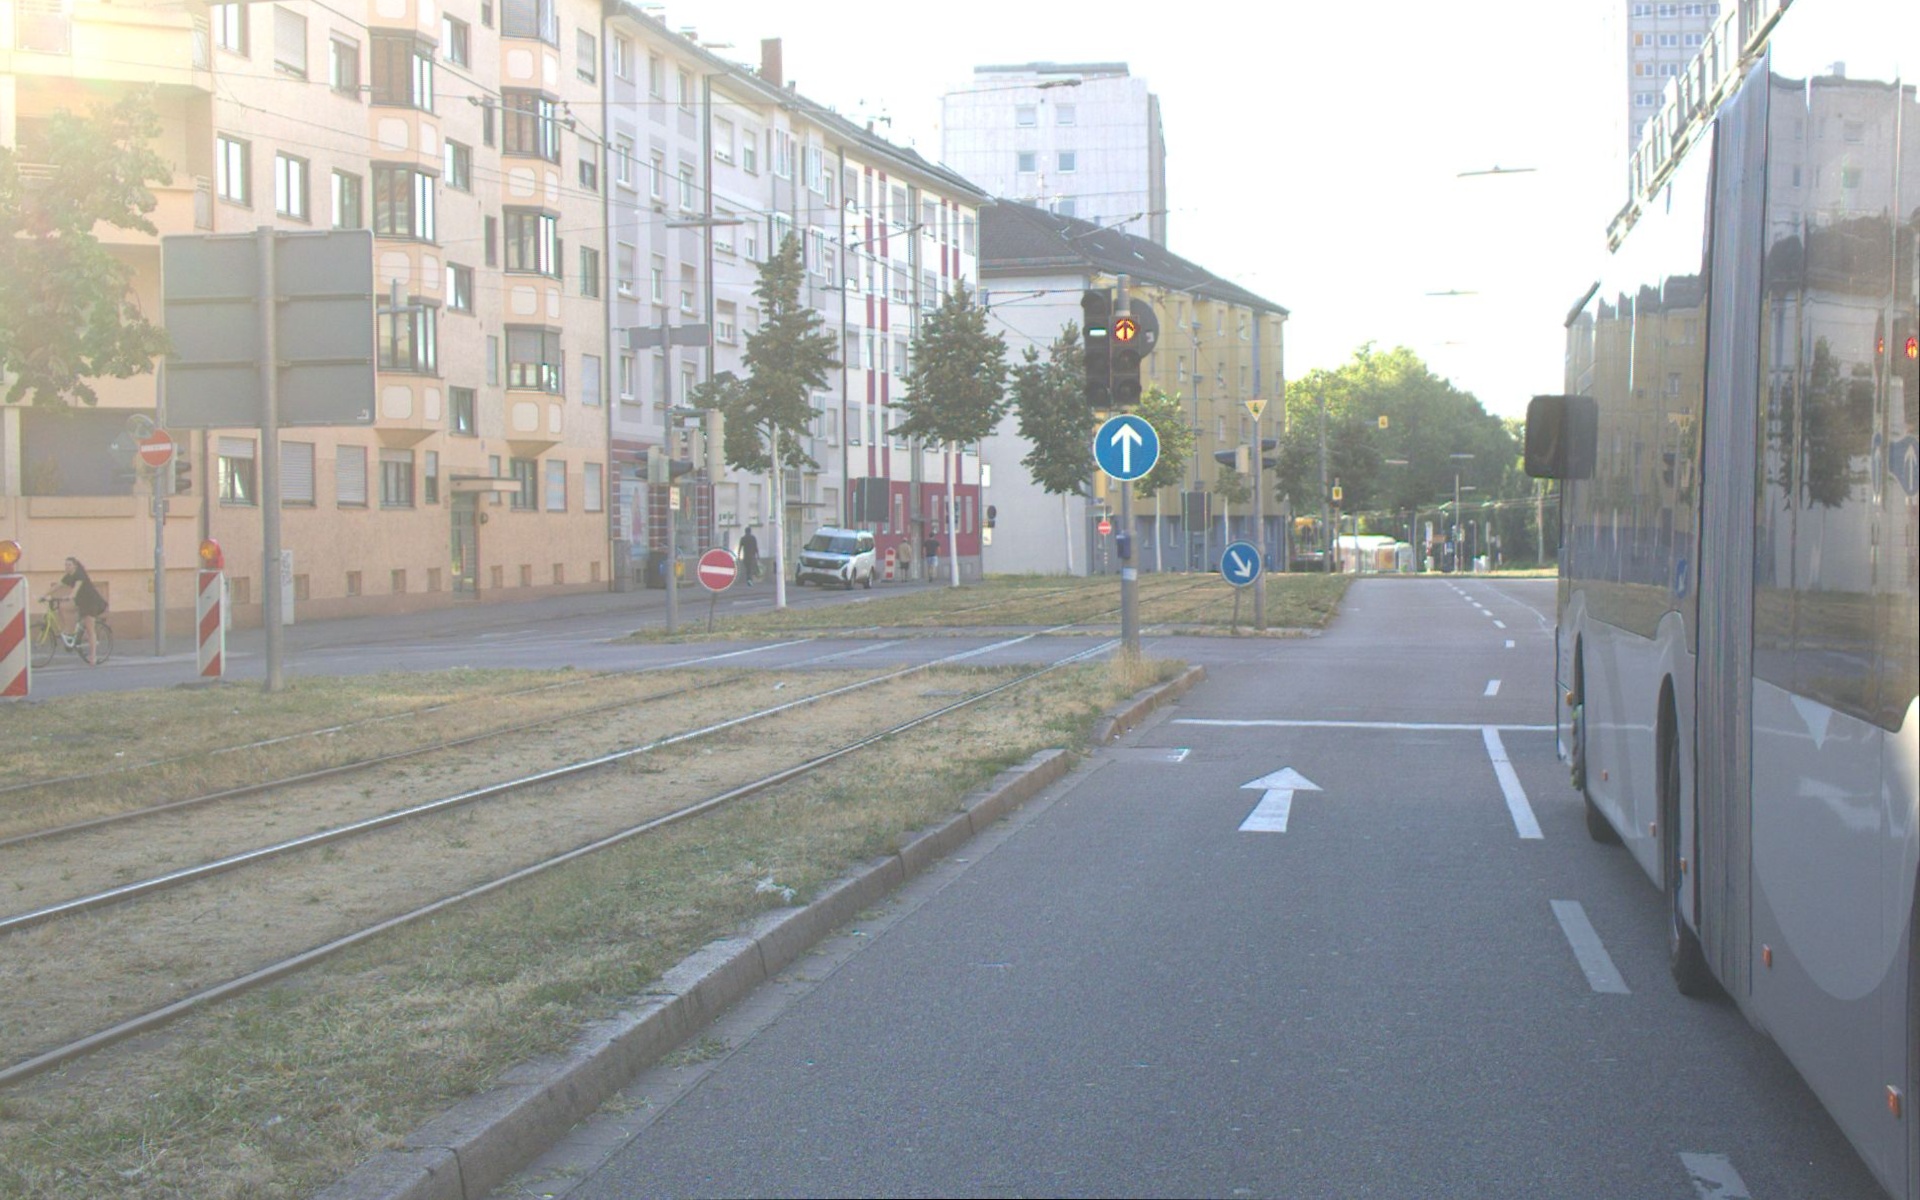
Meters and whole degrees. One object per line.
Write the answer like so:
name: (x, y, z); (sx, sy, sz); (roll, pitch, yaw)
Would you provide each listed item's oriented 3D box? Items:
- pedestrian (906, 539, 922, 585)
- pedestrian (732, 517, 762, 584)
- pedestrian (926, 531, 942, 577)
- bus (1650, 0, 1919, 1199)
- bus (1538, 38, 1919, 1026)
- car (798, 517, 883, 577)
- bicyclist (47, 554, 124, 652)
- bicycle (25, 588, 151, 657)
pedestrian: (-1.643, -1.367, 123.914); (0.495, 1.652, 0.408); (-1, 1, 8)
pedestrian: (-6.399, -1.486, 103.292); (0.786, 2.007, 0.890); (0, 1, 4)
pedestrian: (-0.939, -1.665, 124.145); (0.495, 1.652, 0.408); (-1, 1, 8)
bus: (2.974, -0.112, 6.165); (2.739, 3.045, 8.851); (1, 1, 7)
bus: (4.122, -0.281, 15.047); (2.739, 3.045, 9.129); (1, 1, 7)
car: (-3.685, -1.625, 106.852); (1.812, 1.791, 4.243); (1, 1, 9)
bicyclist: (-13.063, 0.040, 51.352); (0.529, 1.442, 0.963); (0, 1, 38)
bicycle: (-13.011, 0.326, 51.365); (0.529, 0.980, 1.879); (0, 1, 38)
